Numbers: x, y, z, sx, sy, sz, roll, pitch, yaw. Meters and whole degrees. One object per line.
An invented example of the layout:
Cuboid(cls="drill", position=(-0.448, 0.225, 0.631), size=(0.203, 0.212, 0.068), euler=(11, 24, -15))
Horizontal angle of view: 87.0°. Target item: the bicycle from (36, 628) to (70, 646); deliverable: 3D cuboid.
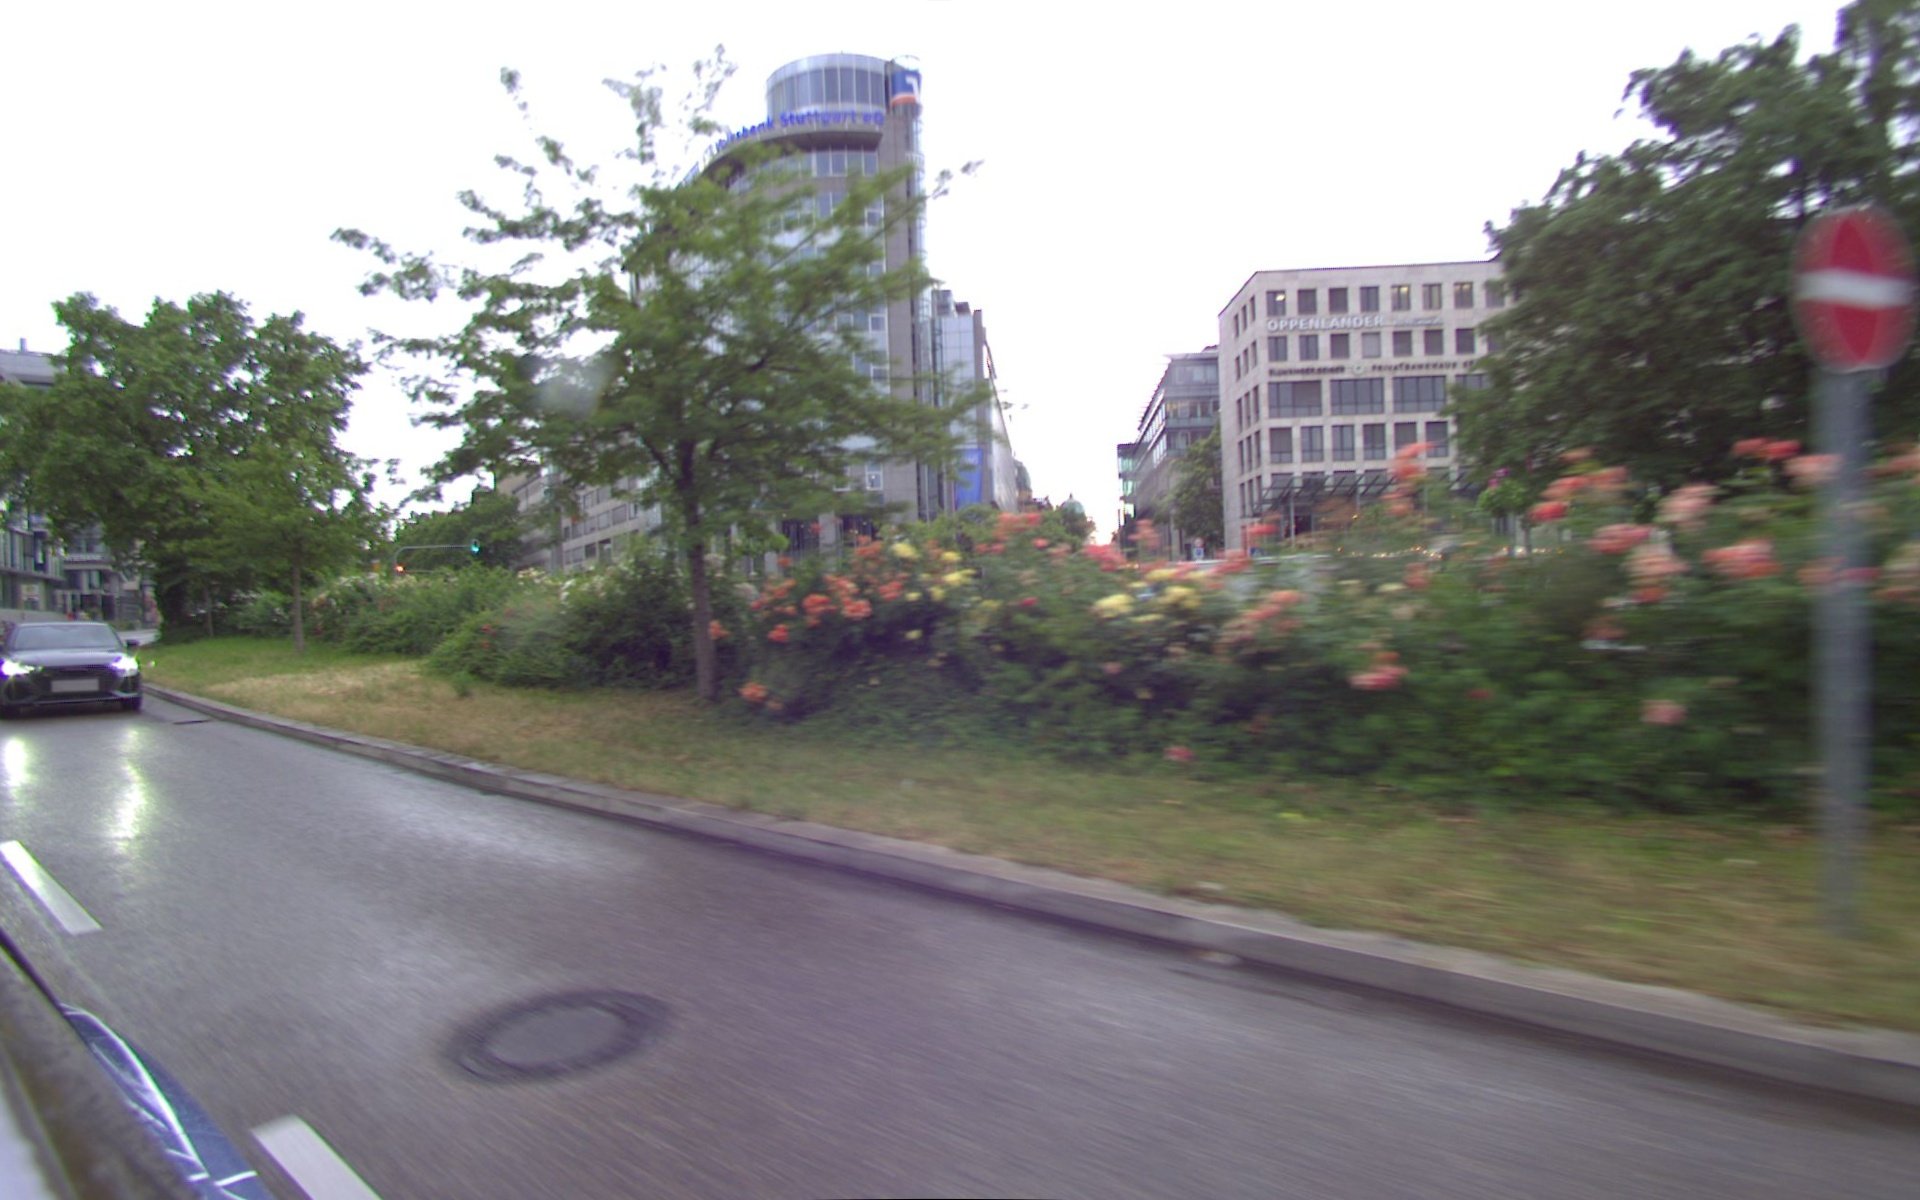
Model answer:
Cuboid(cls="bicycle", position=(-63.706, 2.606, 71.085), size=(1.707, 1.192, 0.691), euler=(-1, 0, -37))

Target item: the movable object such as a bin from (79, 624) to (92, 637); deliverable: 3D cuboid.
Cuboid(cls="movable object such as a bin", position=(-90.583, 3.126, 104.858), size=(0.791, 1.275, 1.793), euler=(0, -1, -33))

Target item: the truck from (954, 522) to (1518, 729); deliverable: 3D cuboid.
Cuboid(cls="truck", position=(3.951, 0.341, 16.615), size=(3.326, 2.529, 8.487), euler=(-2, 0, -41))

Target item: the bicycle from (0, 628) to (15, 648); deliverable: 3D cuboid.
Cuboid(cls="bicycle", position=(-59.109, 2.350, 62.090), size=(1.514, 1.149, 0.664), euler=(-2, 1, -37))

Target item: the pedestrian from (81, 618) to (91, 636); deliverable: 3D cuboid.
Cuboid(cls="pedestrian", position=(-91.405, 2.843, 105.816), size=(0.712, 1.844, 0.749), euler=(0, -1, -33))

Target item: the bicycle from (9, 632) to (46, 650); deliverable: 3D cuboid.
Cuboid(cls="bicycle", position=(-61.658, 2.696, 66.922), size=(1.707, 1.149, 0.691), euler=(-1, 0, -37))

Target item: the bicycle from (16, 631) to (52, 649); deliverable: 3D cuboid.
Cuboid(cls="bicycle", position=(-62.568, 2.700, 68.384), size=(1.707, 1.192, 0.691), euler=(-1, 0, -37))

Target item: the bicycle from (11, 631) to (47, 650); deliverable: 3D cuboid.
Cuboid(cls="bicycle", position=(-62.201, 2.706, 67.653), size=(1.707, 1.149, 0.691), euler=(-1, 0, -37))

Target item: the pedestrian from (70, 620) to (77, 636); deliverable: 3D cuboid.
Cuboid(cls="pedestrian", position=(-92.202, 2.928, 105.274), size=(0.477, 1.712, 0.581), euler=(0, -1, -33))

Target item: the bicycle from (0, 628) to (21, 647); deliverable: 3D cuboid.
Cuboid(cls="bicycle", position=(-59.404, 2.341, 62.833), size=(1.514, 1.149, 0.691), euler=(-2, 1, -37))

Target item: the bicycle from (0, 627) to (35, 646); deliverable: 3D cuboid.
Cuboid(cls="bicycle", position=(-60.009, 2.316, 64.318), size=(1.683, 1.149, 0.691), euler=(-2, 1, -37))

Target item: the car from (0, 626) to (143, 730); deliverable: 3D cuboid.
Cuboid(cls="car", position=(-15.733, 1.255, 17.642), size=(1.839, 1.529, 4.347), euler=(-2, 1, -45))
